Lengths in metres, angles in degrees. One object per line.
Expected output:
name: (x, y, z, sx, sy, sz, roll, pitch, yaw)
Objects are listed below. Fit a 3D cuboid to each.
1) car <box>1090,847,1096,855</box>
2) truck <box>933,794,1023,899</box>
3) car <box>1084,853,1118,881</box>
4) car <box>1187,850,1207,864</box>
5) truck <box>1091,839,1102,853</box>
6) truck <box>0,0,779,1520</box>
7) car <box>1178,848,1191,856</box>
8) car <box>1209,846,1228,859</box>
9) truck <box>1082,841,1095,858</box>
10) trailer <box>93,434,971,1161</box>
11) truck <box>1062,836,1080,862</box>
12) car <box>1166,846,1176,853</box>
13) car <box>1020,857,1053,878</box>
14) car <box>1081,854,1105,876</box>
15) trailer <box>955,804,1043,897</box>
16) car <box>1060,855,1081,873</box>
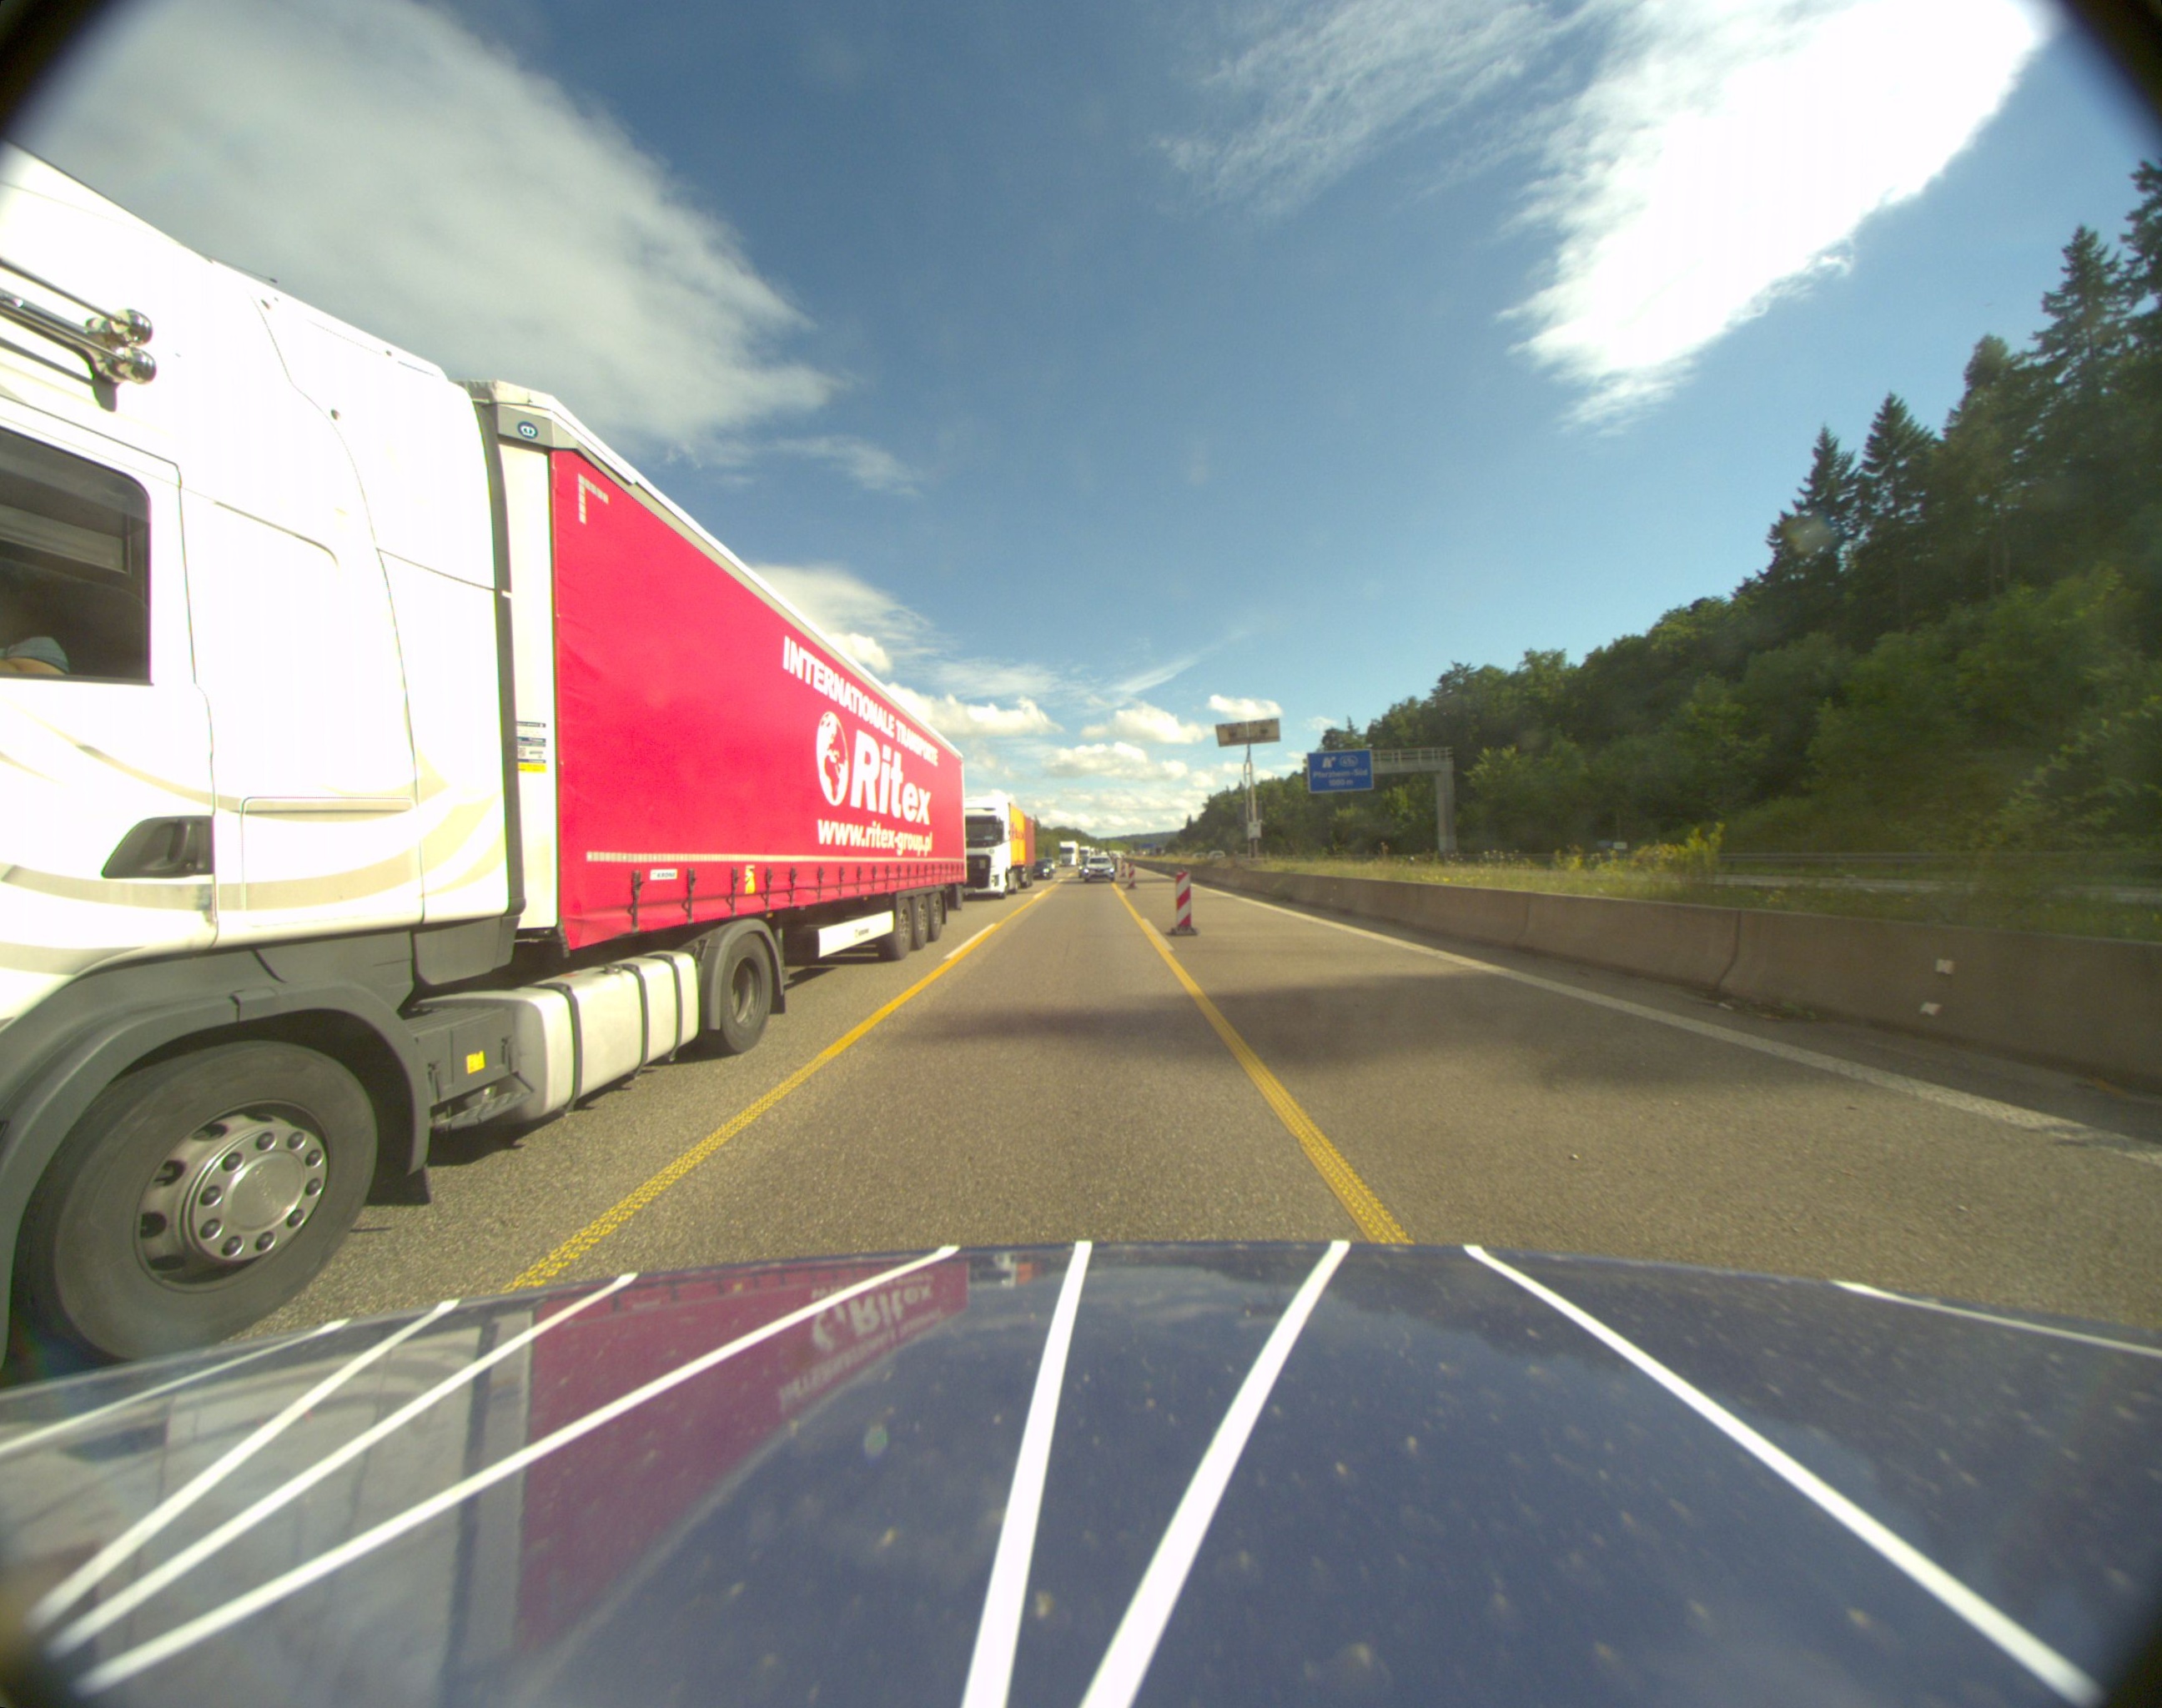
car: (3.642, -0.933, 230.308, 1.998, 2.188, 4.000, -2, 1, 1)
truck: (-3.985, -0.295, 30.630, 2.501, 3.759, 5.790, -2, 1, 2)
car: (1.170, 0.748, 46.138, 1.840, 1.528, 3.882, -2, 1, -1)
car: (12.563, 0.287, 82.632, 1.664, 1.379, 3.912, -2, 1, 1)
truck: (4.667, -2.443, 231.977, 2.641, 4.092, 8.194, -3, 0, -2)
truck: (-4.060, -0.288, 3.785, 2.674, 3.936, 5.710, -2, 0, 0)
car: (18.265, -0.325, 133.992, 1.665, 1.379, 3.911, -2, 1, 0)
car: (17.494, -0.176, 96.894, 1.665, 1.572, 3.911, -2, 1, 0)
truck: (1.878, -1.202, 193.317, 2.640, 4.092, 8.197, -2, 0, 3)
trailer: (-4.011, -0.322, 10.935, 2.706, 3.945, 13.416, -2, 0, 0)
truck: (-1.619, -0.759, 125.231, 2.641, 4.092, 8.194, -2, 0, 0)
car: (22.488, -1.112, 189.878, 1.944, 1.455, 3.911, -2, 1, 0)
car: (-3.125, 0.960, 54.171, 1.933, 1.342, 4.477, -2, 0, 1)
car: (0.906, 0.771, 56.064, 1.692, 1.471, 3.754, -1, 1, 1)
trailer: (-3.717, -0.169, 37.680, 2.477, 3.753, 12.136, -2, 0, 2)
car: (-0.899, 0.888, 69.983, 1.762, 1.471, 3.968, -1, 1, 1)
